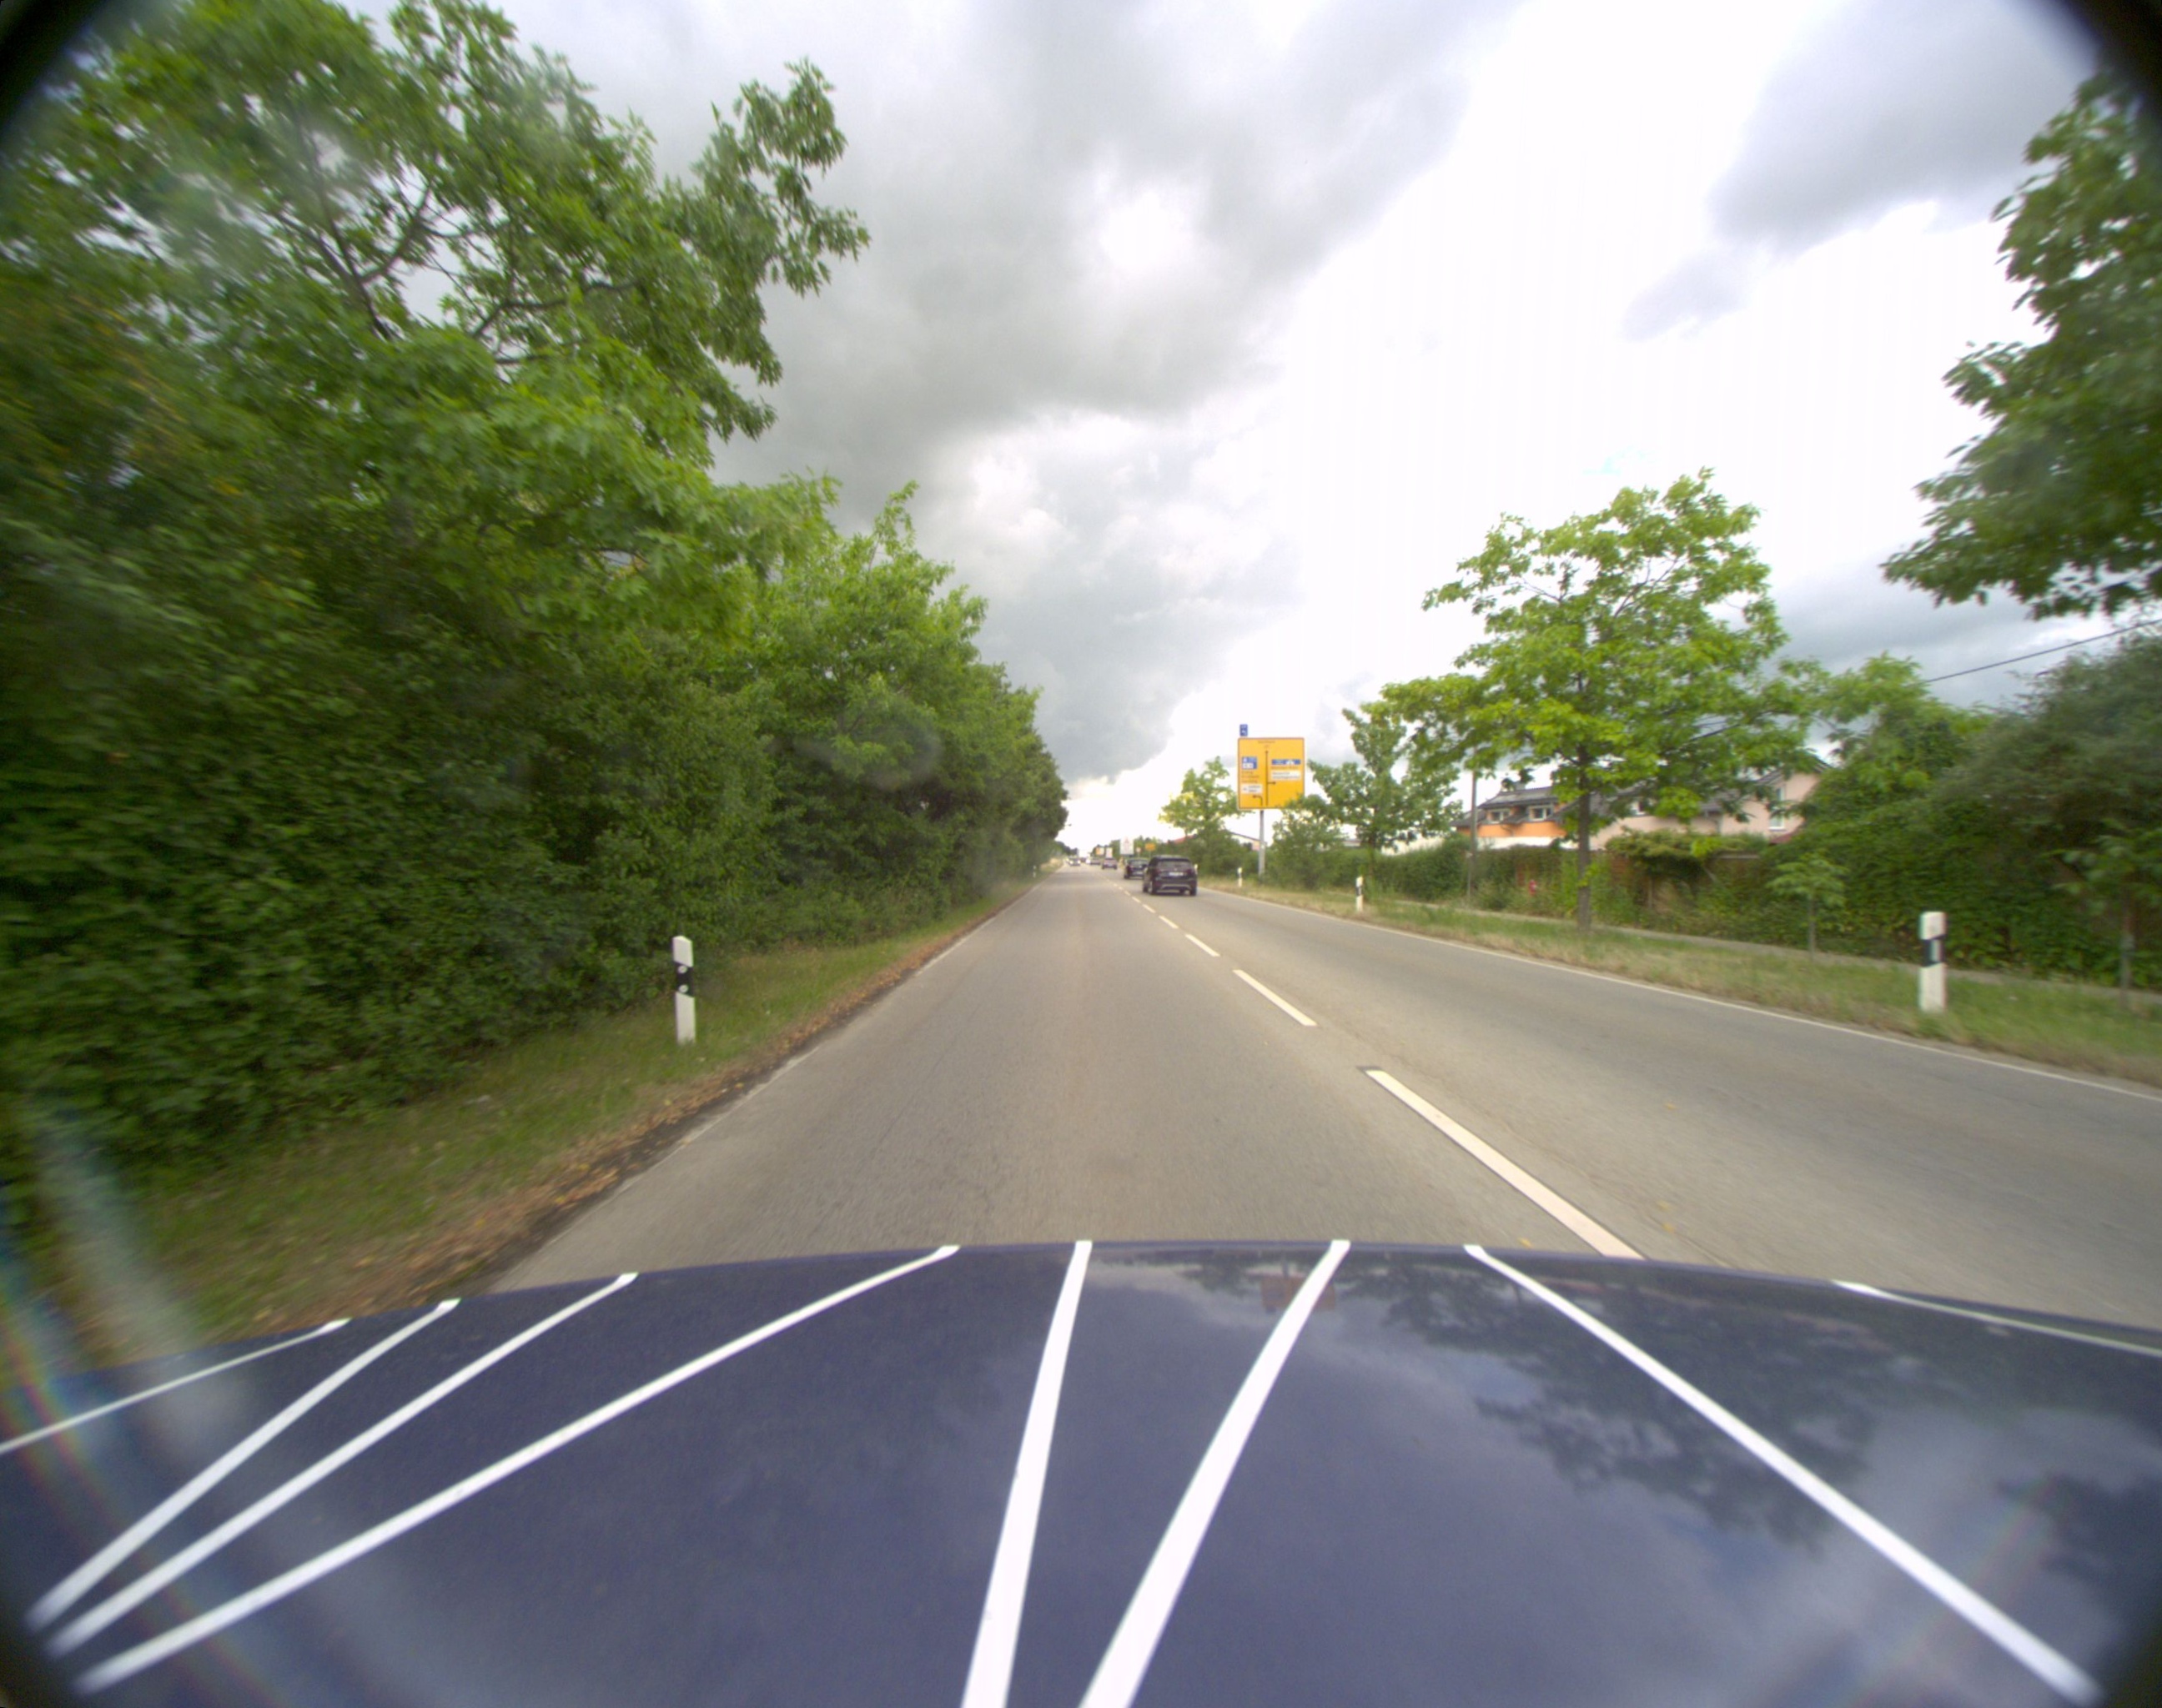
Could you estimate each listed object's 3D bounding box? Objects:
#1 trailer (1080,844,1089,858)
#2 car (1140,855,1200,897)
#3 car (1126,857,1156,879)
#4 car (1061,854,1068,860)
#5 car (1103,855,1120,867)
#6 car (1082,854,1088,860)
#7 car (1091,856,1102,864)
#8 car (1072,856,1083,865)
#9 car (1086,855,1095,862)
[{"bbox_3d":[1.027,-0.950,240.818,2.641,4.096,13.765,0,0,0],"label":"trailer"},{"bbox_3d":[3.447,0.806,30.115,1.738,1.525,4.094,1,0,-1],"label":"car"},{"bbox_3d":[4.012,0.908,51.168,1.681,1.403,4.012,2,0,0],"label":"car"},{"bbox_3d":[-4.494,0.869,206.935,1.777,1.407,4.079,1,0,-1],"label":"car"},{"bbox_3d":[3.773,0.853,94.138,1.820,1.485,4.203,1,0,-1],"label":"car"},{"bbox_3d":[1.189,0.934,218.550,1.733,1.577,4.504,0,0,-1],"label":"car"},{"bbox_3d":[2.889,1.057,142.421,1.857,1.456,4.370,0,0,-1],"label":"car"},{"bbox_3d":[-0.595,1.085,129.776,1.869,1.352,3.826,0,0,0],"label":"car"},{"bbox_3d":[2.132,1.041,167.429,1.777,1.365,4.099,1,0,-1],"label":"car"}]
